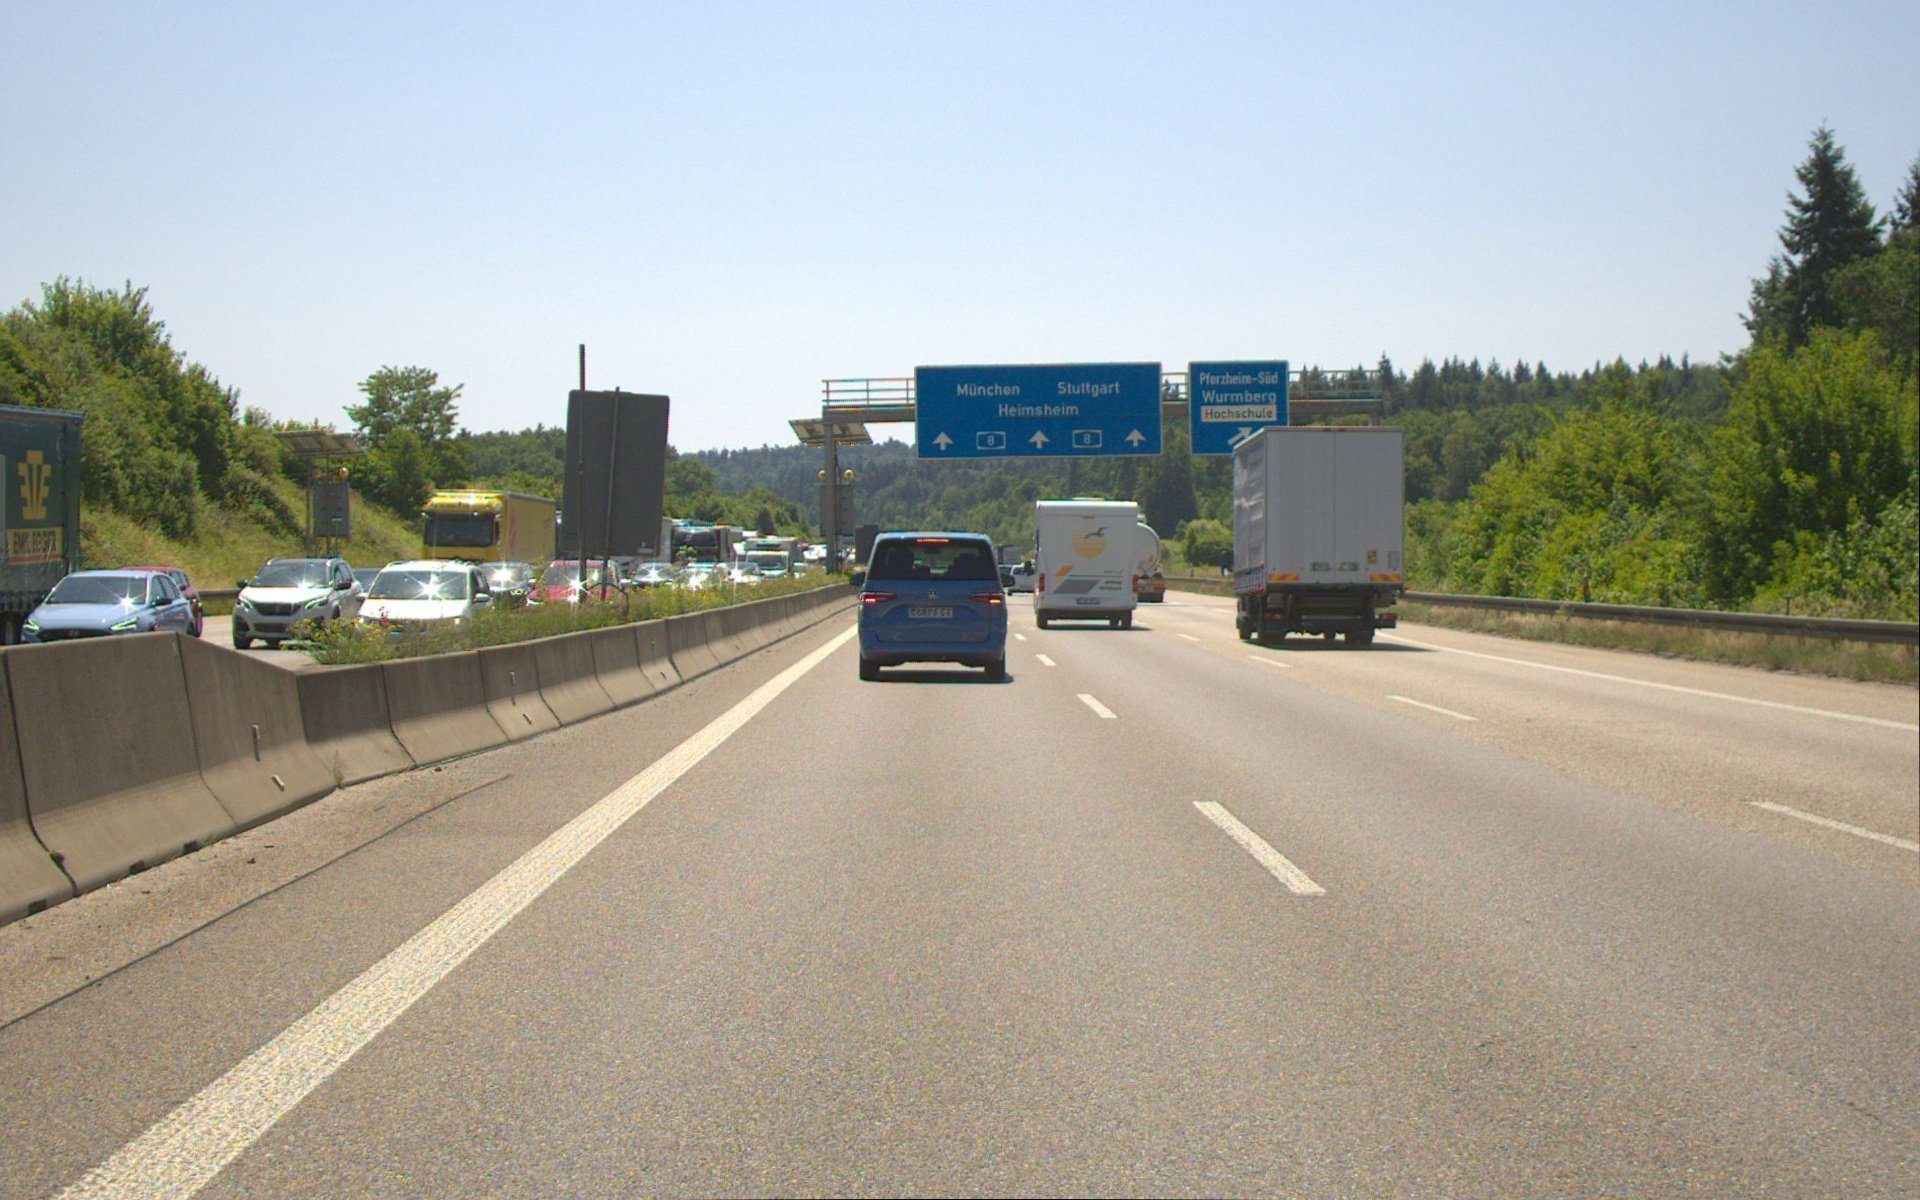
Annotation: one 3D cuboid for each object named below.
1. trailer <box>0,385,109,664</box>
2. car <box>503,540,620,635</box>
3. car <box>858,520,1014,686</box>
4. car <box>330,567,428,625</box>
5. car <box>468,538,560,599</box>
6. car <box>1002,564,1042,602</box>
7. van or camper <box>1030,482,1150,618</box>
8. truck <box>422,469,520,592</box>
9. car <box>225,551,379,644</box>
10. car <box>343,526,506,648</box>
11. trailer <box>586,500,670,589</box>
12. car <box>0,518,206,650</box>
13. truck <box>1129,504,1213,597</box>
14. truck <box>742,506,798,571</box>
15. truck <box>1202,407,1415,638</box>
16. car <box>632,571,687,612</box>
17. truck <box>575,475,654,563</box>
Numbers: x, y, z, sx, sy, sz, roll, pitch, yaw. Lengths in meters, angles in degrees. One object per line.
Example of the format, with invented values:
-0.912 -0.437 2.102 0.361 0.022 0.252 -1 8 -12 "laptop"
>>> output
-15.996 -1.162 52.368 2.842 4.247 12.787 1 0 0 "trailer"
-7.759 -0.249 67.289 1.827 1.758 4.991 1 0 -2 "car"
-0.324 -0.013 44.790 1.909 2.006 4.001 -1 2 -1 "car"
-15.672 -0.125 92.929 1.811 1.508 4.798 1 0 0 "car"
-12.343 -0.861 95.375 1.811 1.623 5.382 1 0 0 "car"
2.909 -0.810 162.984 1.818 1.788 3.894 1 0 0 "car"
3.071 -1.274 82.902 2.603 3.068 7.183 1 2 0 "van or camper"
-16.615 -2.324 117.145 2.602 4.050 6.133 1 0 -2 "truck"
-12.160 -0.055 63.852 1.811 1.623 5.219 1 0 0 "car"
-8.120 -0.197 52.529 1.827 1.758 4.991 1 0 -2 "car"
-16.599 -2.716 172.389 2.781 4.290 11.710 0 0 1 "trailer"
-12.198 -0.229 49.208 1.827 1.758 4.991 1 0 -2 "car"
8.470 -2.036 138.858 2.928 3.563 8.526 -1 1 1 "truck"
-8.514 -2.728 154.441 2.120 2.832 6.212 1 0 0 "truck"
6.613 -1.419 66.670 2.783 4.114 9.741 1 0 -2 "truck"
-12.103 -0.343 138.752 1.775 1.607 4.558 1 0 0 "car"
-16.740 -3.890 166.940 2.782 4.100 7.029 0 0 3 "truck"
